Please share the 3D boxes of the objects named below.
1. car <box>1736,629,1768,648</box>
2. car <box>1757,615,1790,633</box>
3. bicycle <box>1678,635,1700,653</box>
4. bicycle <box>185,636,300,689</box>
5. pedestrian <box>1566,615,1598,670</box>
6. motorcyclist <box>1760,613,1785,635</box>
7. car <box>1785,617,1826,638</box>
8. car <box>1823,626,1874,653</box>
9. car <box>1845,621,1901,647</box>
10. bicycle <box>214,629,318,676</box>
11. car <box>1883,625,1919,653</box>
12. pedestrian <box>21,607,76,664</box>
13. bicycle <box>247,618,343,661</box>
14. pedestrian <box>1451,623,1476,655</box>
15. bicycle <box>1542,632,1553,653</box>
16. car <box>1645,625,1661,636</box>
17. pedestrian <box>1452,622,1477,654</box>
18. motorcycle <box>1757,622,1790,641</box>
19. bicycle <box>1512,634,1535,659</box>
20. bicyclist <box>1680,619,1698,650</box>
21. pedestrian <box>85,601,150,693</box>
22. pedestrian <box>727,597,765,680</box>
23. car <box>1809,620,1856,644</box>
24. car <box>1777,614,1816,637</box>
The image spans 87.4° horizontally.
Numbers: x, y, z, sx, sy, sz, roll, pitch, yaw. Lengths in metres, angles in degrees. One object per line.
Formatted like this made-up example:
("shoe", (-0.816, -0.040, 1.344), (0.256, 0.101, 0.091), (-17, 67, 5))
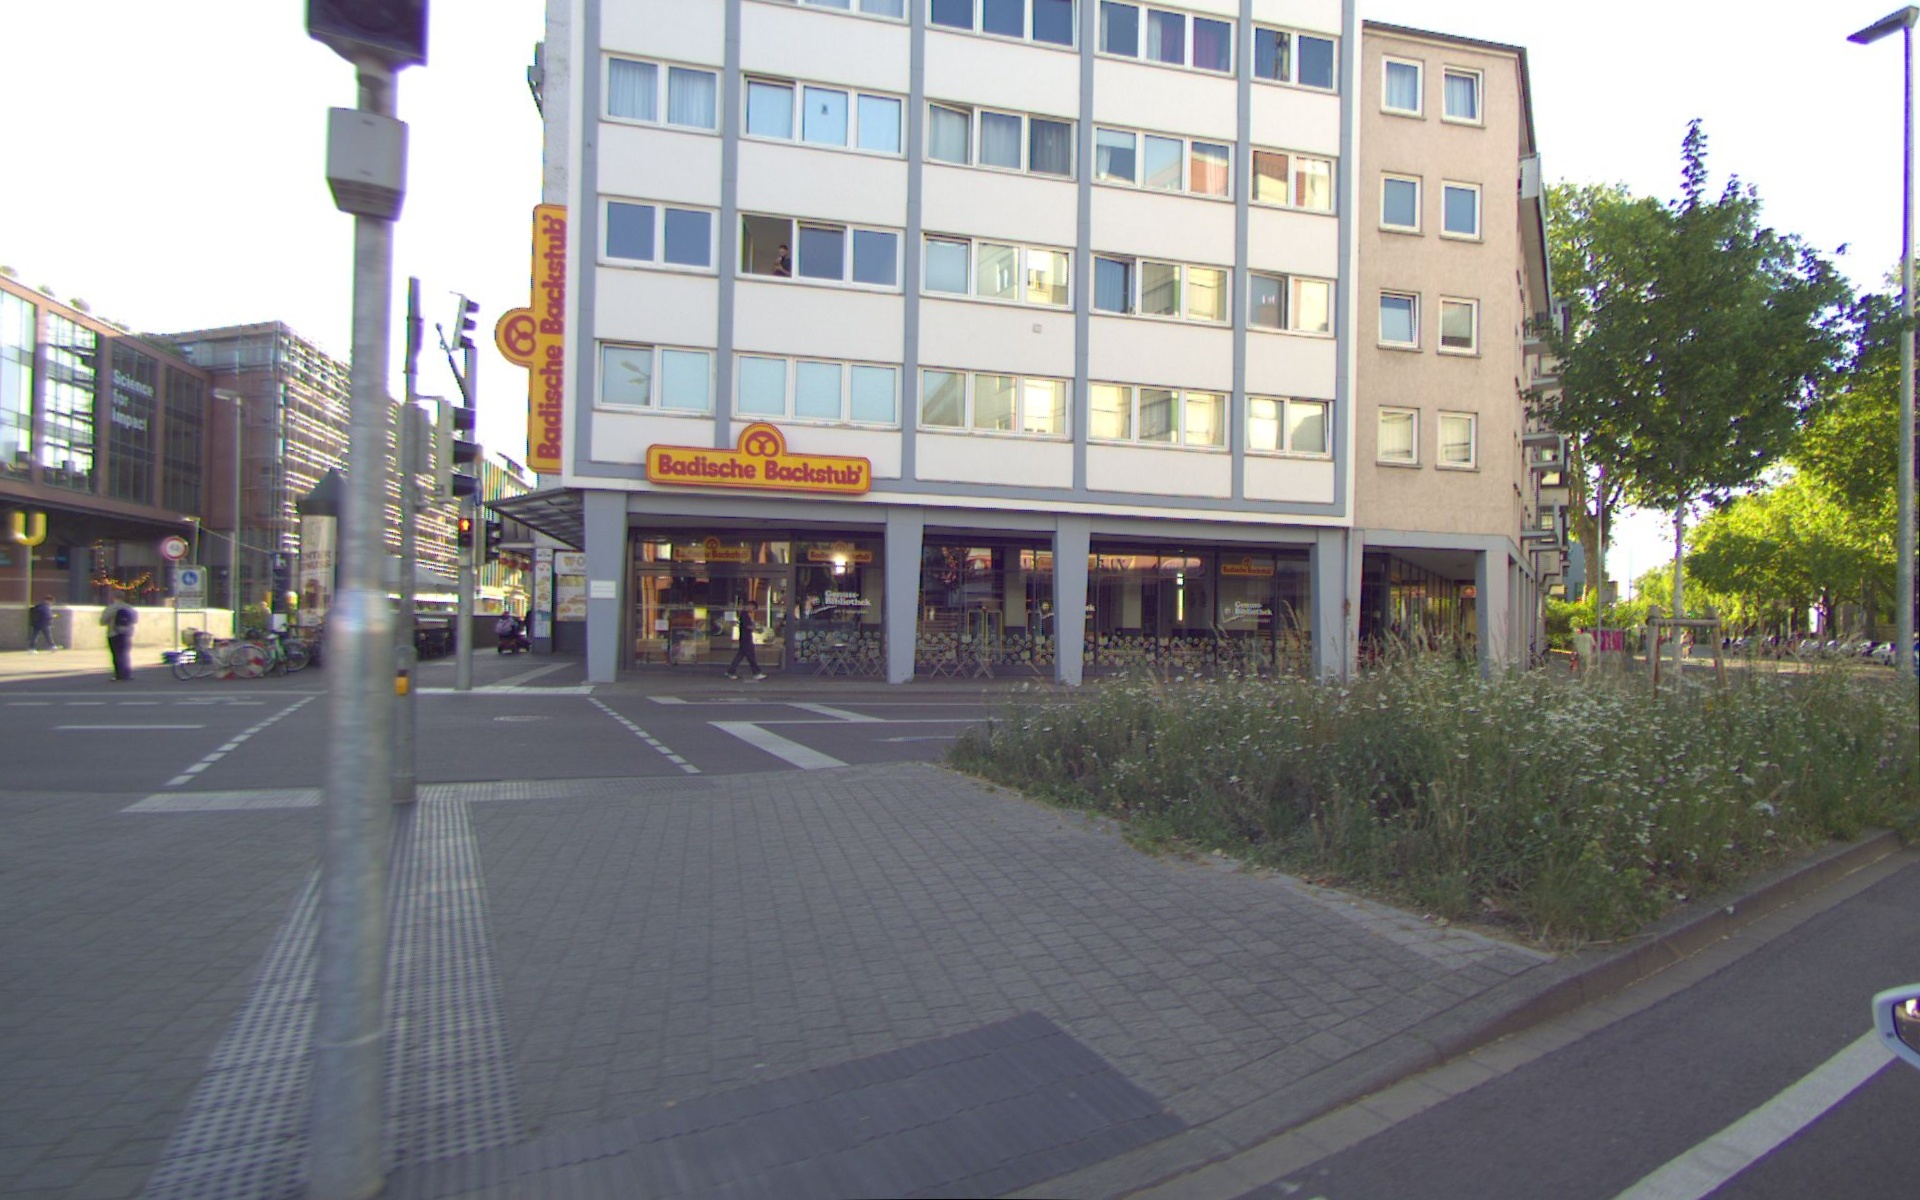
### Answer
("car", (63.043, 3.066, 79.983), (1.899, 1.407, 3.985), (1, -1, 37))
("car", (79.062, 2.302, 97.680), (2.004, 1.765, 4.084), (0, -1, 31))
("bicycle", (46.833, 2.814, 64.554), (0.803, 1.154, 2.335), (0, -1, 27))
("bicycle", (-15.458, 1.326, 21.668), (1.989, 1.067, 0.590), (1, -1, -39))
("pedestrian", (20.209, 1.360, 32.649), (0.793, 1.747, 0.775), (1, -1, 29))
("motorcyclist", (53.928, 1.596, 66.669), (0.955, 1.365, 1.137), (2, 1, 24))
("car", (70.883, 2.299, 84.262), (2.004, 1.742, 4.084), (0, -1, 31))
("car", (63.193, 2.782, 71.522), (2.004, 1.782, 4.084), (0, -1, 31))
("car", (60.304, 2.246, 66.391), (2.004, 1.638, 4.084), (0, -1, 31))
("bicycle", (-16.446, 1.234, 23.865), (1.983, 1.067, 0.591), (1, -1, -32))
("car", (54.109, 2.190, 56.810), (2.004, 1.524, 4.084), (0, -1, 31))
("pedestrian", (-27.661, 1.070, 30.485), (0.867, 1.687, 0.907), (1, -1, 22))
("bicycle", (-17.055, 1.014, 25.790), (1.970, 1.067, 0.595), (1, -1, -10))
("pedestrian", (20.347, 1.570, 40.598), (0.820, 1.282, 0.852), (0, -1, 33))
("bicycle", (26.735, 1.921, 45.716), (0.383, 0.889, 1.609), (4, 1, 30))
("car", (113.294, 5.026, 164.202), (2.004, 1.765, 4.084), (0, -1, 31))
("pedestrian", (20.858, 1.581, 41.549), (0.820, 1.282, 0.852), (1, -1, 33))
("motorcycle", (53.871, 2.065, 66.548), (0.958, 1.147, 2.803), (2, 0, 24))
("bicycle", (21.425, 1.764, 38.194), (0.625, 0.896, 1.611), (0, -1, 35))
("bicyclist", (46.823, 2.231, 64.529), (0.803, 1.973, 0.856), (0, -1, 28))
("pedestrian", (-16.981, 0.924, 20.268), (0.771, 1.815, 0.629), (-1, 0, -12))
("pedestrian", (-4.646, 0.829, 21.805), (0.763, 1.747, 0.806), (1, 0, -13))
("car", (66.545, 2.451, 76.655), (2.004, 1.742, 4.084), (0, -1, 31))
("car", (73.234, 2.197, 87.996), (2.004, 1.960, 4.084), (0, -1, 31))
